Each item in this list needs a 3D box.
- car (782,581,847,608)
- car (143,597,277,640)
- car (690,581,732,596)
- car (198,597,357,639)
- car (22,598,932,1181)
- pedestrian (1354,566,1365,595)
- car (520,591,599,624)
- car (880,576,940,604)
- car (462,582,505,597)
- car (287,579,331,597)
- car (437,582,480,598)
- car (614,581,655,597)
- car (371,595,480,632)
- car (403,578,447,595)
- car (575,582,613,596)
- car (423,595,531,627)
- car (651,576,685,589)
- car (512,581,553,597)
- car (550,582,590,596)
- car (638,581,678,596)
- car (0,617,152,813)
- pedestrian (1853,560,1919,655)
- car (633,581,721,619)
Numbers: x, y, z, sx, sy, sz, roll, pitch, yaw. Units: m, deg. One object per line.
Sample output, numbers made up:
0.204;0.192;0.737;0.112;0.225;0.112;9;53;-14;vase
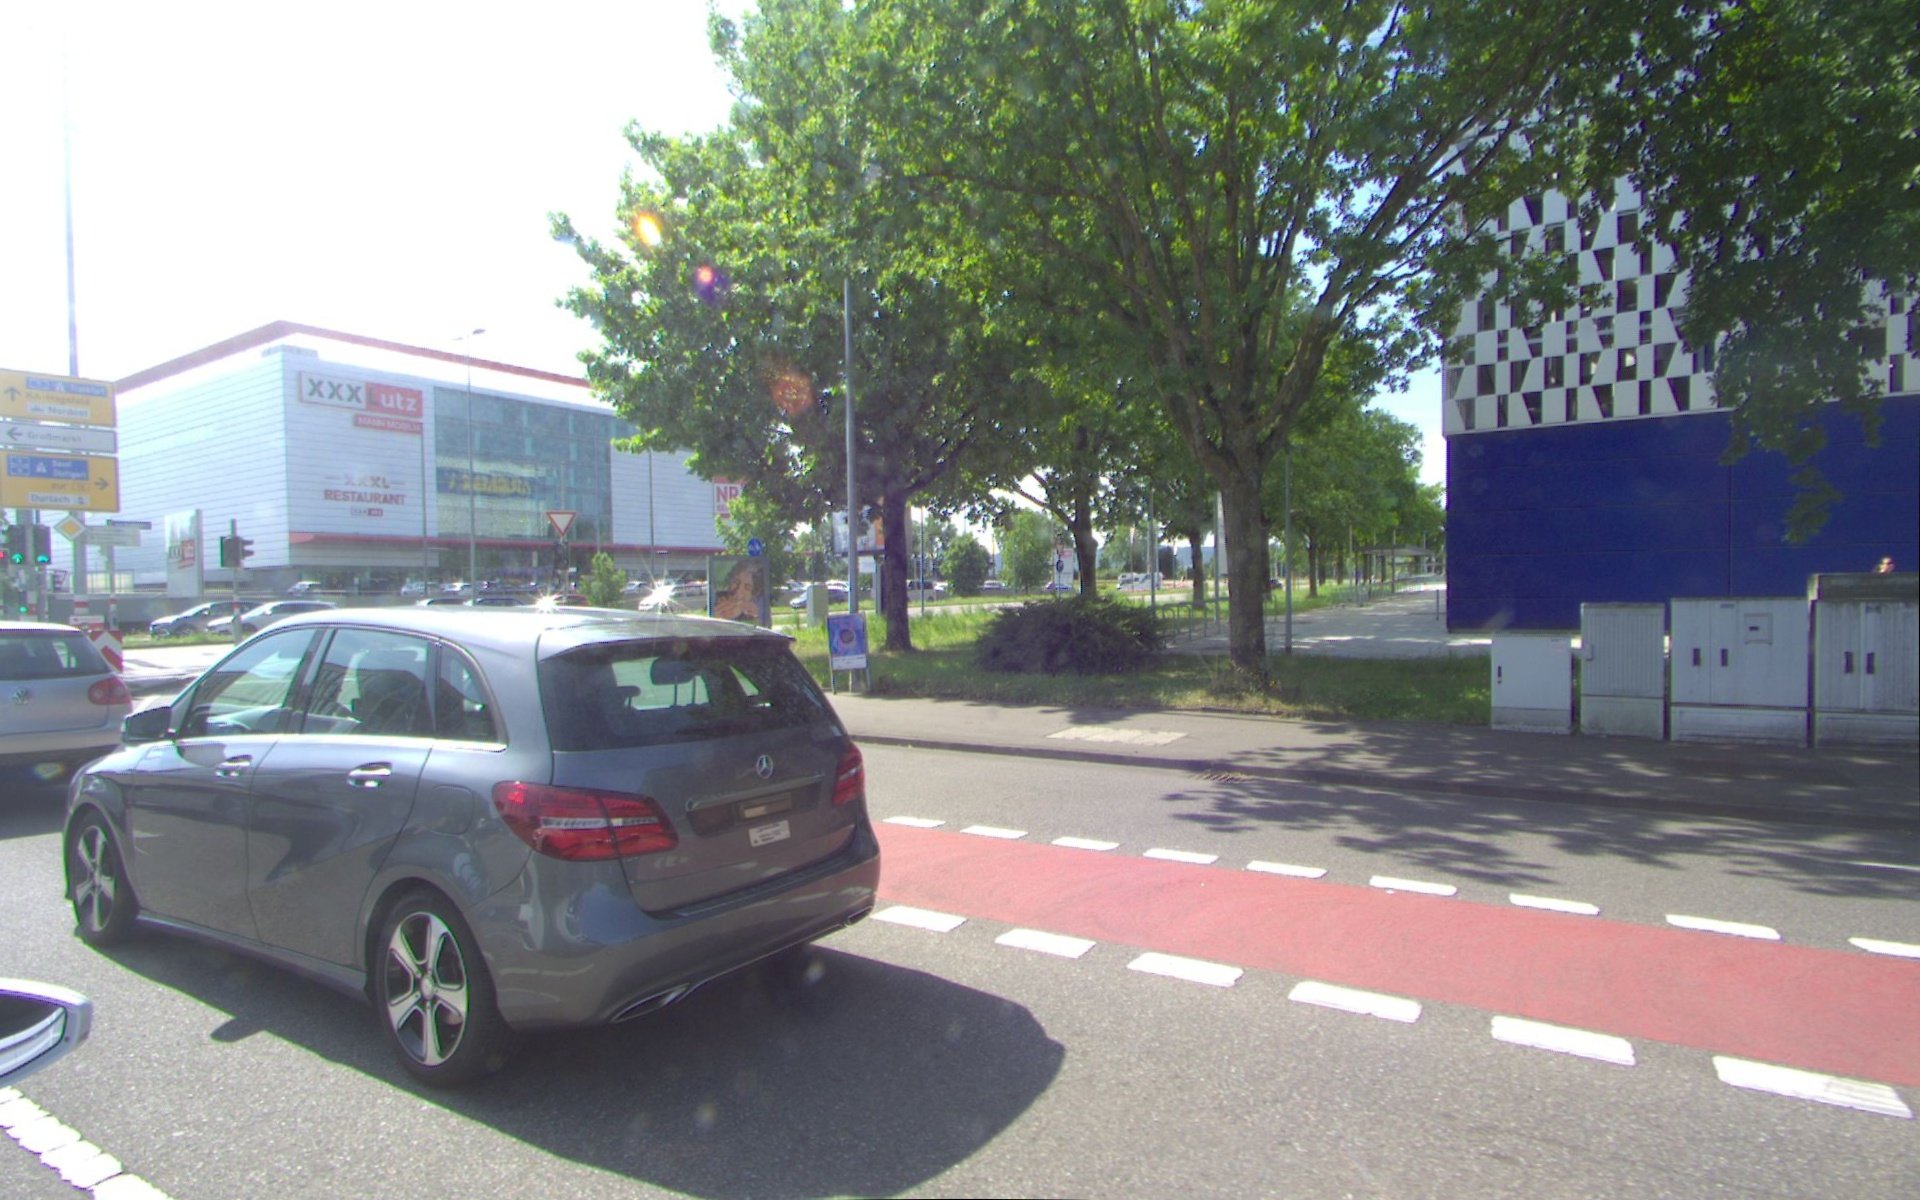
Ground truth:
-9.256;-0.376;63.903;1.662;1.642;4.102;0;1;37;car
-29.584;0.692;39.578;1.785;1.579;3.871;0;0;36;car
-24.554;-1.148;98.806;4.051;1.439;1.784;0;1;33;car
-26.431;0.657;38.940;1.933;1.444;4.701;-2;0;35;car
-2.310;0.778;4.501;4.077;1.559;1.771;0;0;31;car
28.857;-1.413;72.339;0.670;2.039;0.600;-1;-1;18;pedestrian
-20.545;0.354;51.467;1.578;1.597;3.458;0;1;36;car
-3.742;-0.734;75.484;1.890;1.961;4.757;-2;0;37;car
-45.219;-0.985;95.011;4.143;1.439;1.866;0;1;35;car
-56.600;-1.032;87.068;4.143;1.439;1.765;0;1;35;car
-46.233;-0.892;92.335;4.143;1.439;1.826;0;1;35;car
-31.723;-1.057;97.447;4.053;1.439;1.679;0;1;35;car
-24.602;0.604;46.213;1.883;1.528;4.015;-2;1;35;car
-48.312;-1.201;90.419;3.950;1.439;1.795;0;1;32;car
-38.249;-1.117;104.613;4.143;1.439;1.730;0;1;35;car
-21.697;0.479;45.107;1.701;1.360;4.032;-1;0;34;car
-34.935;-2.052;119.832;4.143;1.439;1.679;0;1;35;car
-42.249;-1.086;98.936;4.143;1.439;1.895;0;1;35;car
-40.068;-1.113;102.778;4.142;1.439;1.799;0;1;34;car
-29.981;-1.119;99.309;3.955;1.439;1.734;0;1;35;car
-8.564;0.867;8.404;3.628;1.433;1.664;0;-1;31;car
15.686;0.125;16.916;0.769;1.567;0.677;0;1;32;pedestrian
-16.283;-0.023;57.762;1.937;2.002;4.658;-2;0;35;car
